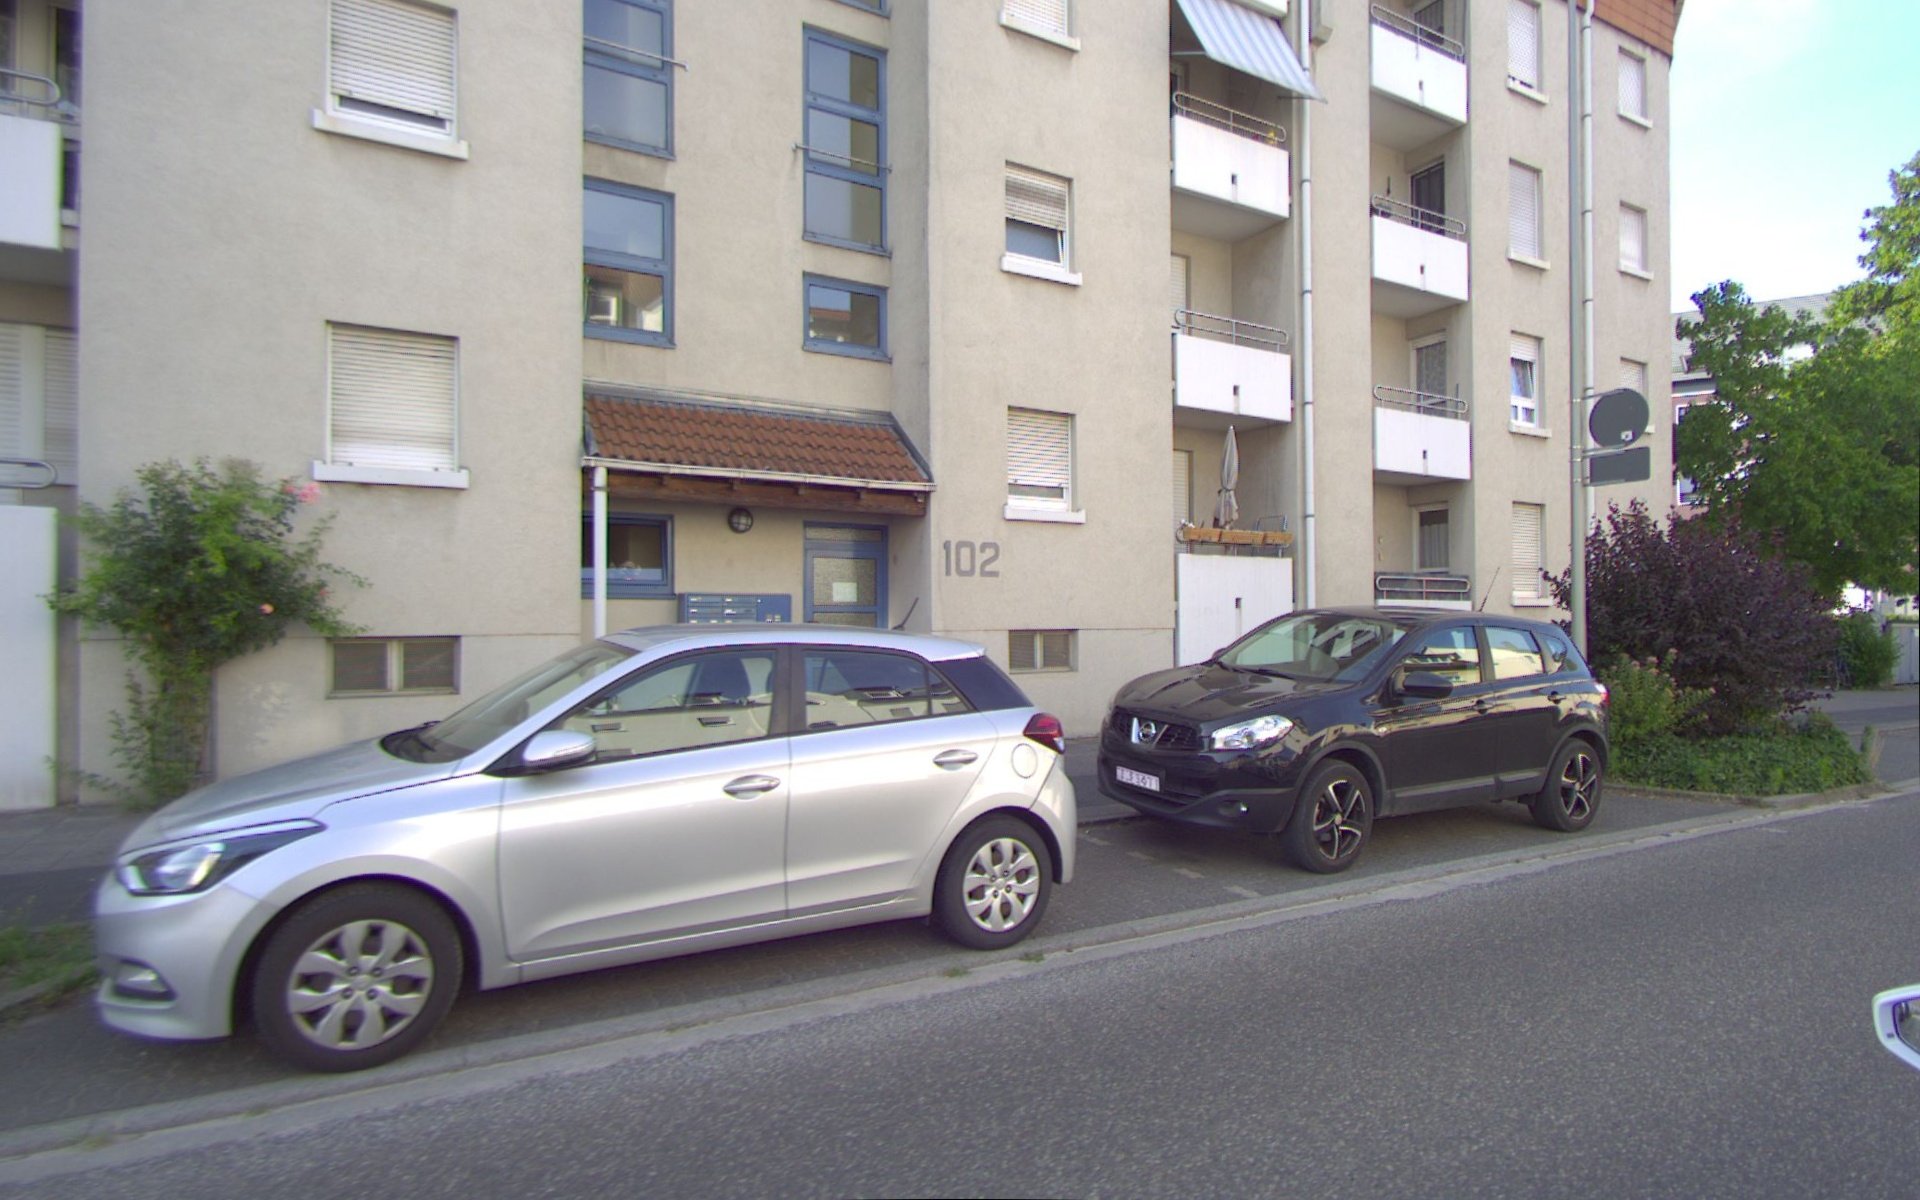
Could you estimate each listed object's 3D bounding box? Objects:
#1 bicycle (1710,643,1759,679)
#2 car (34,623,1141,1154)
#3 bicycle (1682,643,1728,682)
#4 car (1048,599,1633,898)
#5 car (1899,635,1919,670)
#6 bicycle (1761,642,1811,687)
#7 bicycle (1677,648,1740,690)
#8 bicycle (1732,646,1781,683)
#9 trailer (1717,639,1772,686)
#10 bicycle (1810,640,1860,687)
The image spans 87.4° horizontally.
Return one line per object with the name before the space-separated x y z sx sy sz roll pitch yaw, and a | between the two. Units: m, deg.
bicycle | 19.318 1.505 25.056 1.665 0.863 0.459 1 -1 -34
car | -1.277 0.853 4.623 4.093 1.474 1.677 1 -1 -31
bicycle | 18.090 1.515 24.407 0.453 0.893 1.240 0 -1 14
car | 2.880 0.849 7.314 4.319 1.624 1.678 1 -1 -31
car | 37.297 1.944 37.177 3.396 1.305 1.662 -1 -2 29
bicycle | 19.700 1.525 23.947 1.665 1.006 0.459 1 -1 -34
bicycle | 17.434 1.590 23.435 0.454 0.863 1.454 0 1 4
bicycle | 19.502 1.565 24.577 1.665 0.863 0.459 1 -1 -34
trailer | 18.330 1.460 23.469 0.894 1.070 0.584 0 -1 -14
bicycle | 20.377 1.466 23.374 1.665 1.036 0.459 1 -1 -34
